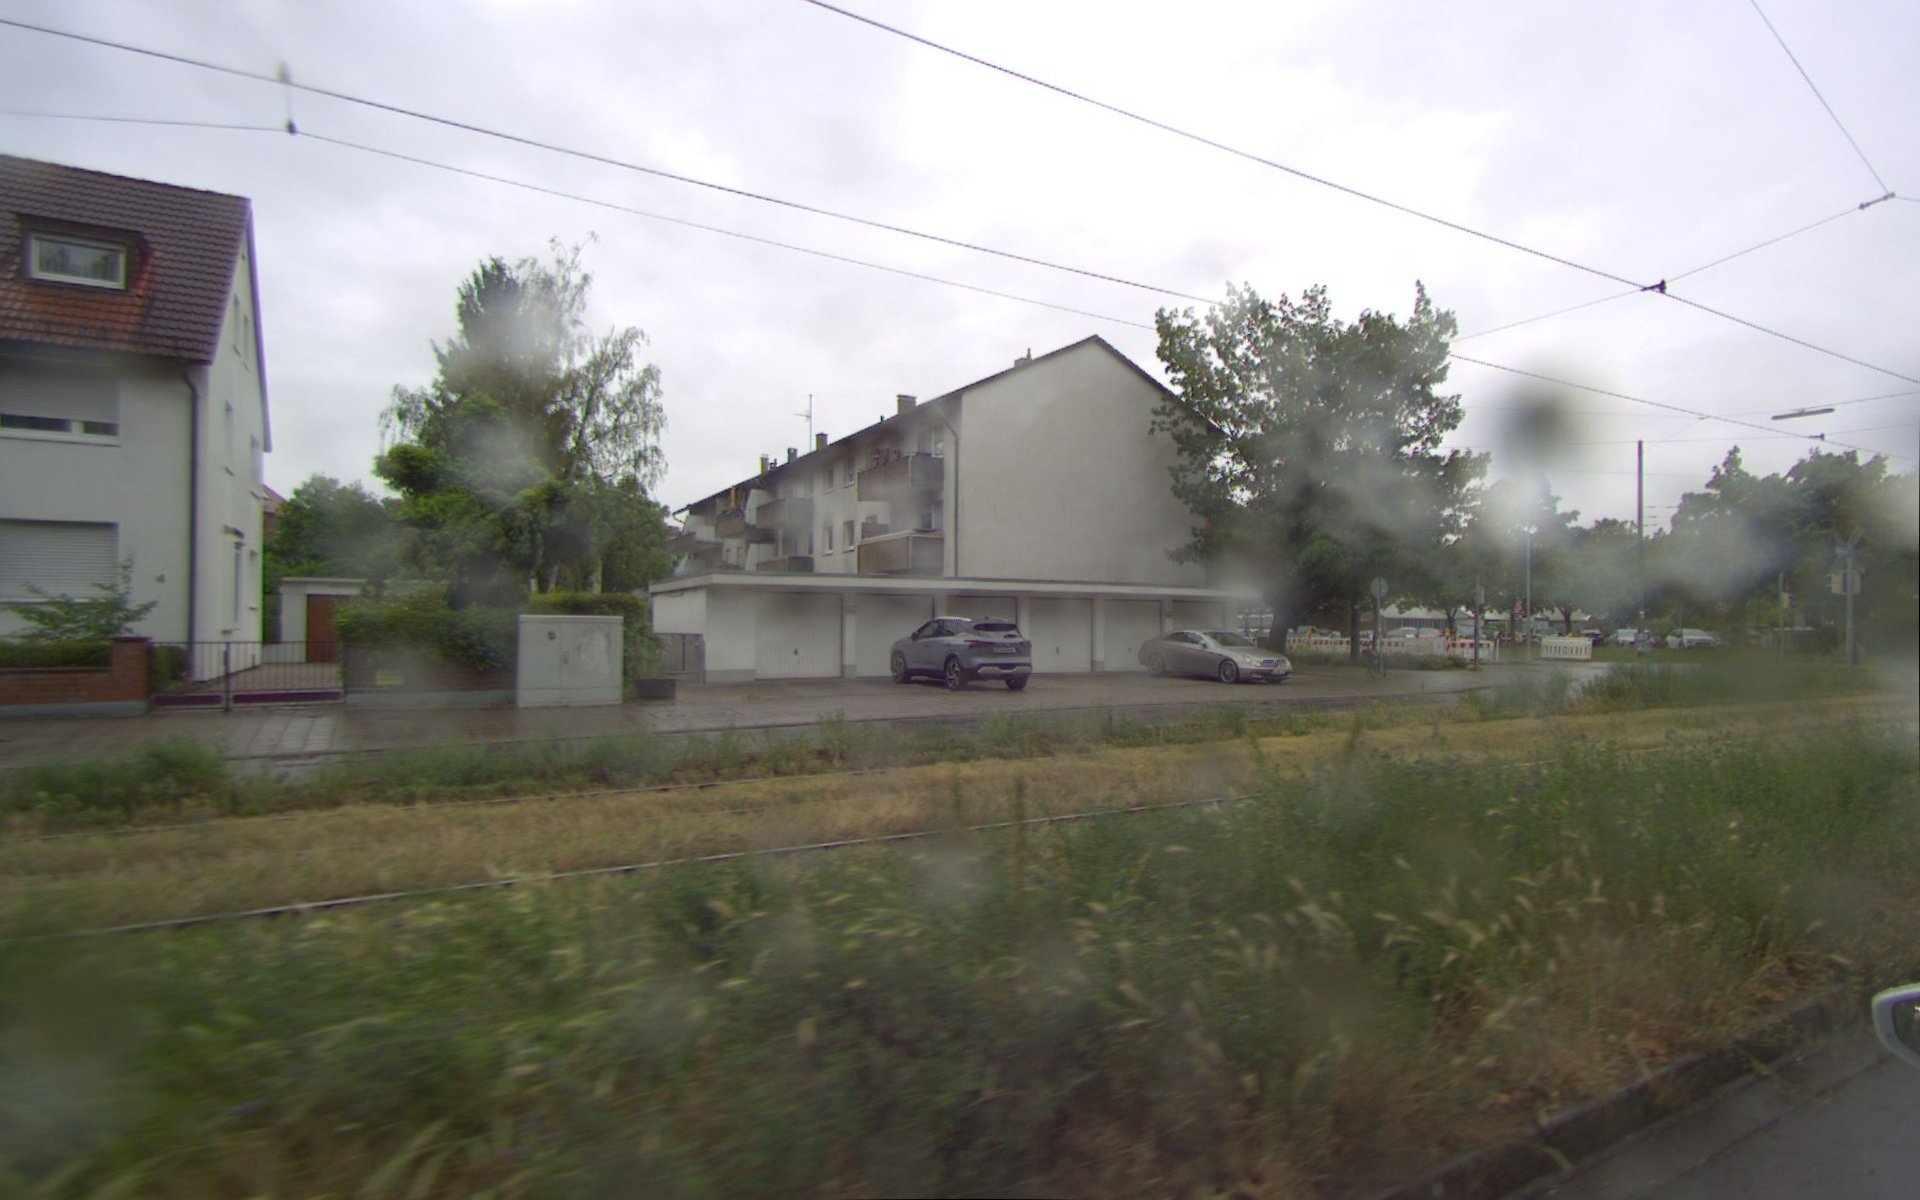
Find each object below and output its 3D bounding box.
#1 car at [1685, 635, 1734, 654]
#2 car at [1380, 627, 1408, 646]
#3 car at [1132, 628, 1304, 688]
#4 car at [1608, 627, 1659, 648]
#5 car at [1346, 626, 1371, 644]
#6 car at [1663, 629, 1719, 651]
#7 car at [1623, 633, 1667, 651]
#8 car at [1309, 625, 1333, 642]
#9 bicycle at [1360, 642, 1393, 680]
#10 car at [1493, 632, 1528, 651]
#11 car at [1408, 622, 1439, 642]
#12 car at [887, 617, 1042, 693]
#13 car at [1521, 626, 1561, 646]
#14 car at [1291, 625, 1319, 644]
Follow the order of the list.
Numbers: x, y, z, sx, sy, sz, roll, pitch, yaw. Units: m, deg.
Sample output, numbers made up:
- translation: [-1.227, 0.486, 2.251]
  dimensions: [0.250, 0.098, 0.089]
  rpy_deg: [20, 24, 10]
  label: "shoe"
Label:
- translation: [52.169, 3.087, 69.969]
  dimensions: [1.632, 1.265, 3.743]
  rpy_deg: [0, -2, 18]
  label: "car"
- translation: [33.213, 2.790, 76.935]
  dimensions: [1.632, 1.342, 3.743]
  rpy_deg: [0, -2, 18]
  label: "car"
- translation: [6.923, 1.524, 27.493]
  dimensions: [1.826, 1.383, 4.704]
  rpy_deg: [1, -1, -29]
  label: "car"
- translation: [40.973, 2.277, 61.204]
  dimensions: [1.632, 1.265, 3.743]
  rpy_deg: [0, -2, 18]
  label: "car"
- translation: [30.857, 2.716, 77.826]
  dimensions: [1.632, 1.342, 3.743]
  rpy_deg: [0, -2, 18]
  label: "car"
- translation: [44.045, 2.400, 60.579]
  dimensions: [1.632, 1.265, 3.743]
  rpy_deg: [0, -2, 18]
  label: "car"
- translation: [48.282, 2.959, 70.858]
  dimensions: [1.632, 1.265, 3.743]
  rpy_deg: [0, -2, 18]
  label: "car"
- translation: [28.513, 2.640, 79.381]
  dimensions: [1.632, 1.342, 3.743]
  rpy_deg: [0, -2, 18]
  label: "car"
- translation: [12.337, 1.784, 29.693]
  dimensions: [0.474, 1.033, 1.836]
  rpy_deg: [3, 1, 35]
  label: "bicycle"
- translation: [40.586, 3.029, 74.162]
  dimensions: [1.632, 1.342, 3.743]
  rpy_deg: [0, -2, 18]
  label: "car"
- translation: [30.286, 2.083, 65.710]
  dimensions: [1.633, 1.265, 3.742]
  rpy_deg: [0, -2, 21]
  label: "car"
- translation: [0.009, 1.211, 23.396]
  dimensions: [1.871, 1.597, 3.967]
  rpy_deg: [1, -2, -31]
  label: "car"
- translation: [36.882, 2.281, 63.877]
  dimensions: [1.633, 1.265, 3.742]
  rpy_deg: [0, -2, 21]
  label: "car"
- translation: [23.625, 2.361, 68.693]
  dimensions: [1.633, 1.265, 3.742]
  rpy_deg: [0, -2, 21]
  label: "car"
